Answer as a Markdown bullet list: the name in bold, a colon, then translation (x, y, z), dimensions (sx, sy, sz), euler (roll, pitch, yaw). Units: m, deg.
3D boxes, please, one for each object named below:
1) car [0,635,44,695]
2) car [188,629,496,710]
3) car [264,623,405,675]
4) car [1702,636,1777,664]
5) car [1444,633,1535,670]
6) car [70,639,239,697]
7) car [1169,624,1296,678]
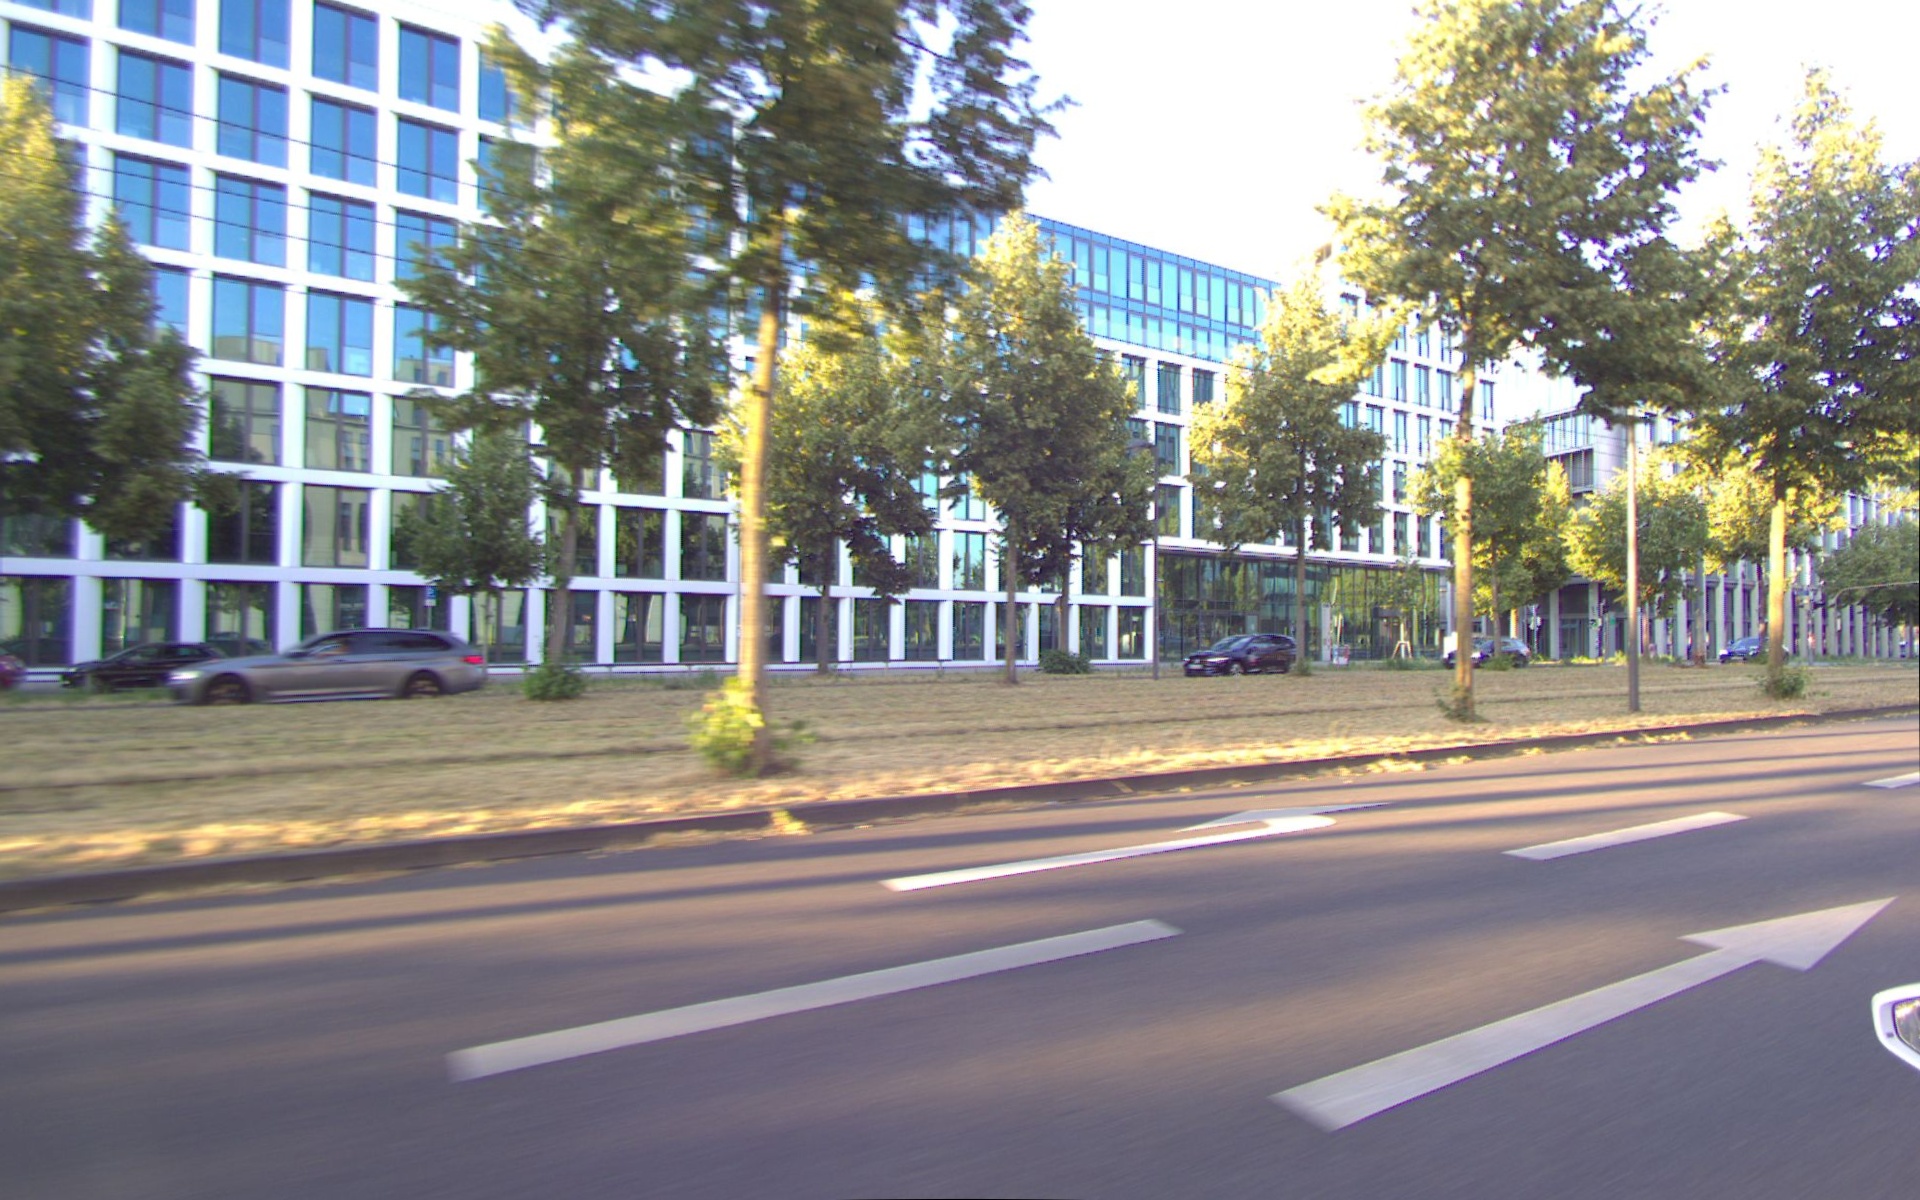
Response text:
- **car**: translation (-27.693, 1.774, 27.537), dimensions (3.451, 1.602, 1.851), euler (1, -2, -31)
- **car**: translation (-11.325, 1.236, 18.717), dimensions (4.691, 1.349, 1.647), euler (2, -2, -33)
- **car**: translation (-20.060, 1.552, 32.398), dimensions (3.740, 1.602, 1.851), euler (1, -2, -31)
- **car**: translation (39.491, 2.514, 50.861), dimensions (4.535, 1.349, 1.647), euler (1, -2, -33)
- **car**: translation (22.803, 2.189, 43.220), dimensions (4.145, 1.521, 1.647), euler (1, -2, -33)
- **car**: translation (-23.714, 1.969, 29.771), dimensions (3.622, 1.602, 1.851), euler (1, -2, -31)
- **car**: translation (8.399, 1.547, 30.874), dimensions (3.687, 1.568, 1.792), euler (1, -2, -33)
